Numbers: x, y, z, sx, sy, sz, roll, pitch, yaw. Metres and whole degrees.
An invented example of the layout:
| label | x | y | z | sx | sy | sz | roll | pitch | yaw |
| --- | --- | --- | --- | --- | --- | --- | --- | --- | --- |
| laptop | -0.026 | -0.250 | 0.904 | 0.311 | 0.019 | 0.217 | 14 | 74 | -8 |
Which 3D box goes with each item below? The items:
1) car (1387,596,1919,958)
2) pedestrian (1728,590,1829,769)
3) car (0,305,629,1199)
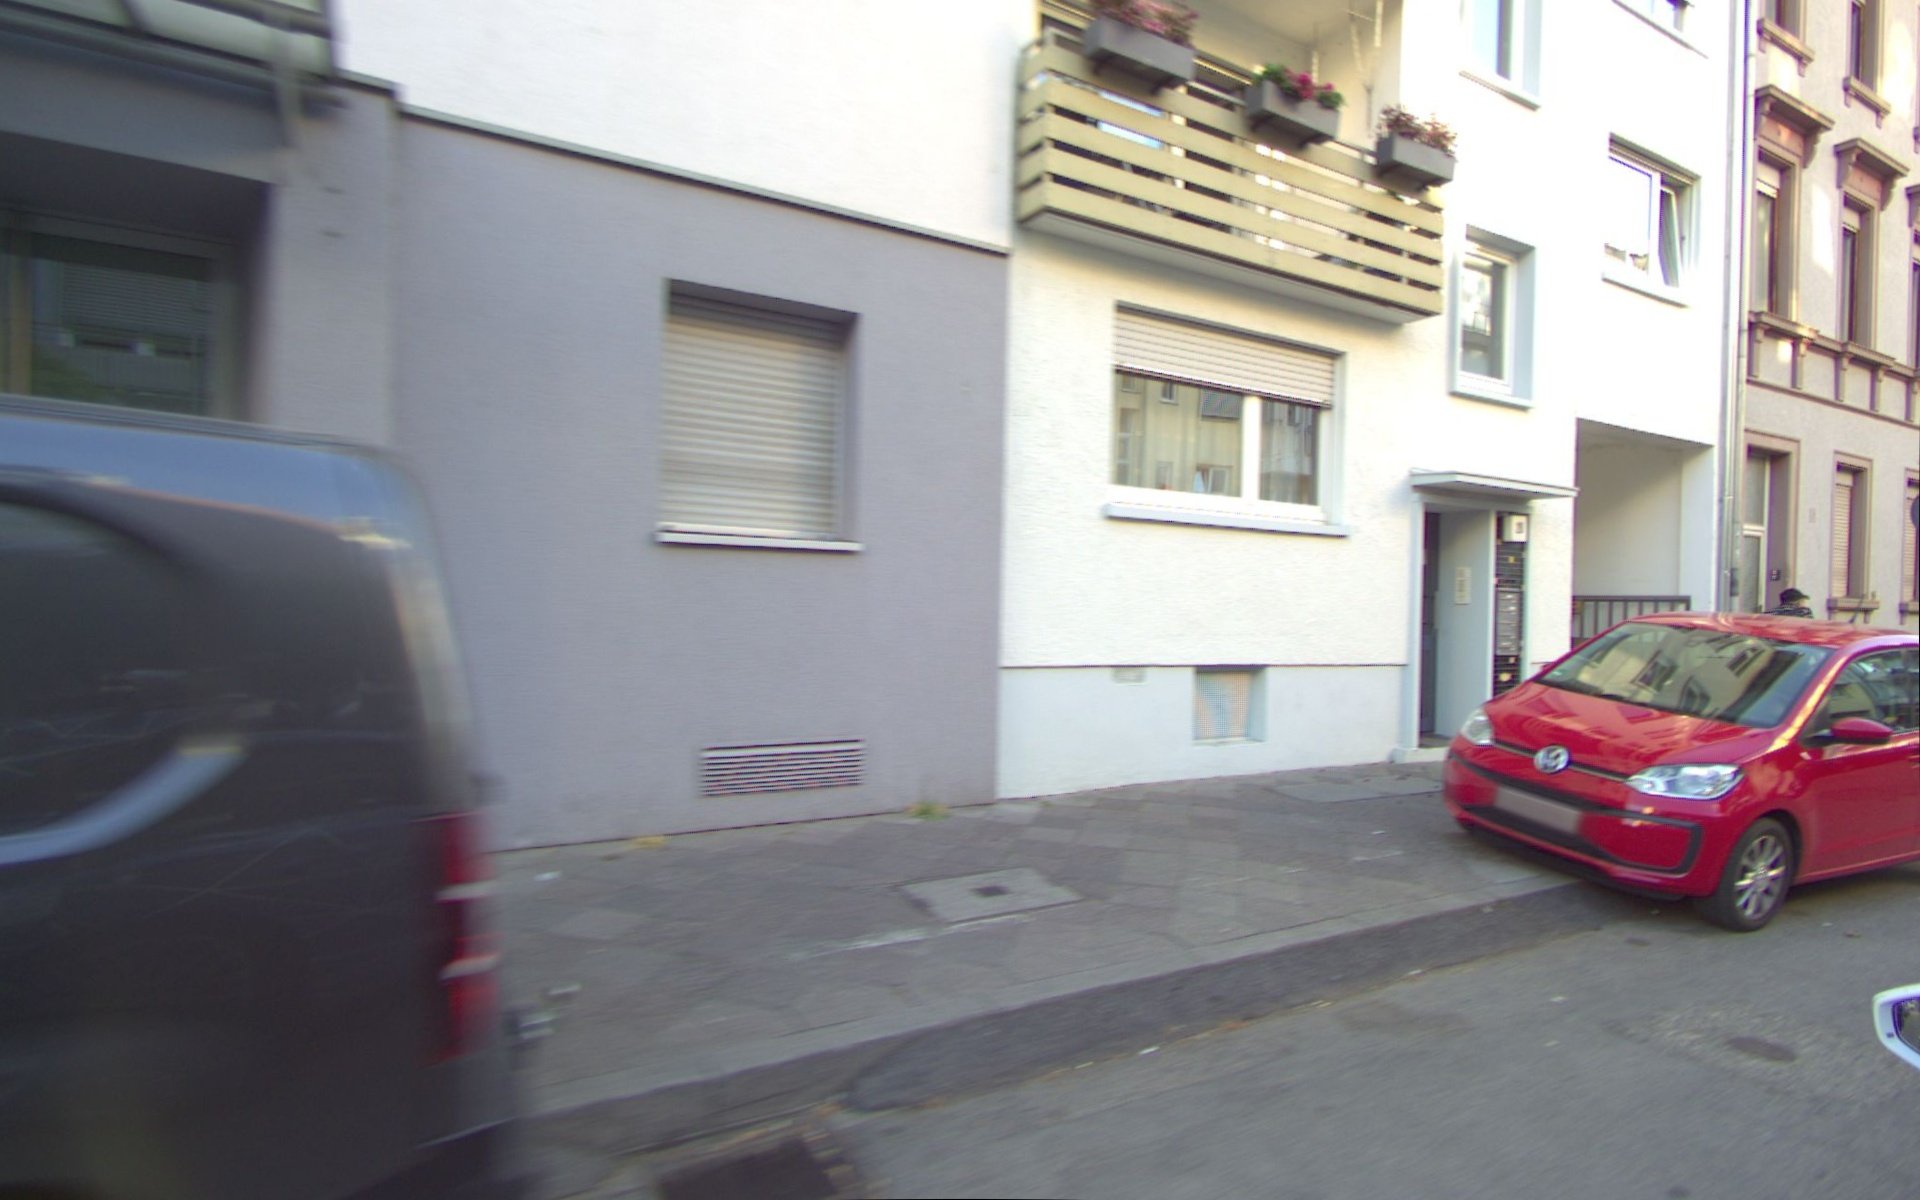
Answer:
| label | x | y | z | sx | sy | sz | roll | pitch | yaw |
| --- | --- | --- | --- | --- | --- | --- | --- | --- | --- |
| car | 4.584 | 0.846 | 6.065 | 3.557 | 1.506 | 1.663 | 1 | 5 | -25 |
| pedestrian | 7.922 | 0.749 | 9.728 | 0.658 | 1.660 | 0.492 | 1 | 2 | -30 |
| car | -3.001 | 0.528 | 1.336 | 4.533 | 1.883 | 1.983 | 1 | 1 | -32 |
